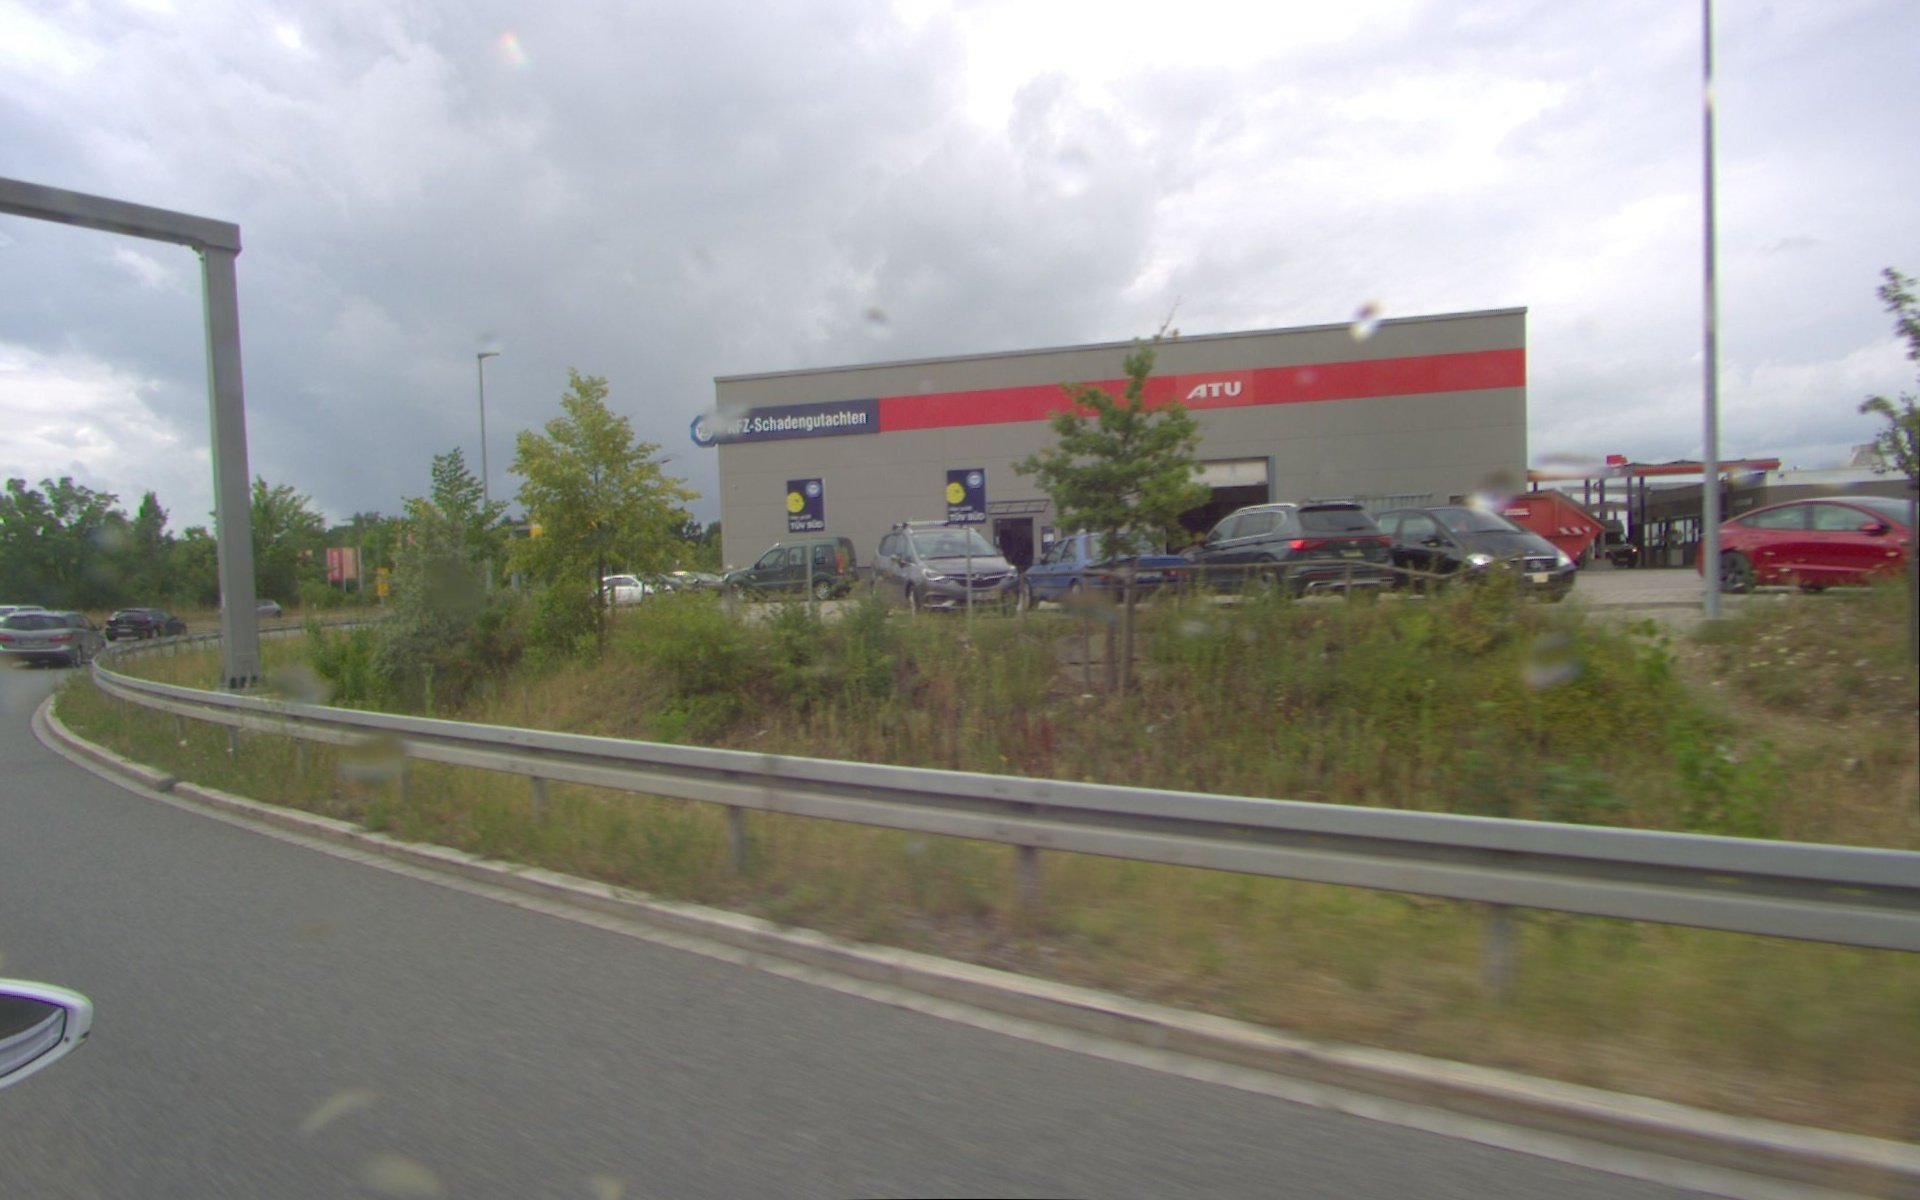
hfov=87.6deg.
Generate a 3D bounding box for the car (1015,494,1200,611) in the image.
[{"bbox_3d":[2.414,-0.704,17.423,1.703,1.674,3.853,0,-2,-17],"label":"car"}]

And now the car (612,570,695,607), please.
[{"bbox_3d":[-14.760,-0.556,48.332,3.382,1.657,1.729,-1,1,14],"label":"car"}]

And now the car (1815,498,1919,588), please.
[{"bbox_3d":[15.738,-0.915,15.691,1.473,1.401,3.300,-2,3,-14],"label":"car"}]

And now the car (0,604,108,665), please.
[{"bbox_3d":[-26.622,0.974,29.477,1.748,1.638,3.899,-1,0,-32],"label":"car"}]

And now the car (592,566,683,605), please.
[{"bbox_3d":[-14.789,-0.668,46.032,3.561,1.559,1.641,-3,1,13],"label":"car"}]

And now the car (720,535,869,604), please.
[{"bbox_3d":[-4.806,-0.905,29.288,3.896,1.837,1.702,-2,4,12],"label":"car"}]

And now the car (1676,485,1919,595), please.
[{"bbox_3d":[13.241,-0.836,14.642,1.672,1.419,4.584,-2,0,-12],"label":"car"}]

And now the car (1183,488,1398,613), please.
[{"bbox_3d":[5.158,-0.676,16.163,1.491,1.674,3.730,0,-2,-15],"label":"car"}]

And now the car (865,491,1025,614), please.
[{"bbox_3d":[-0.405,-0.706,17.804,1.773,1.805,4.163,0,-2,-17],"label":"car"}]

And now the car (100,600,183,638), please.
[{"bbox_3d":[-36.578,0.852,44.872,1.844,1.626,3.723,-1,0,-22],"label":"car"}]

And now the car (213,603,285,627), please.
[{"bbox_3d":[-46.647,0.959,65.767,1.435,1.505,4.094,0,0,8],"label":"car"}]

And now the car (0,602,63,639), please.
[{"bbox_3d":[-43.717,0.936,46.010,1.688,1.656,4.264,-1,0,-10],"label":"car"}]

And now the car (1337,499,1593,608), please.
[{"bbox_3d":[7.902,-0.732,16.100,1.661,1.540,3.788,-1,2,-12],"label":"car"}]
